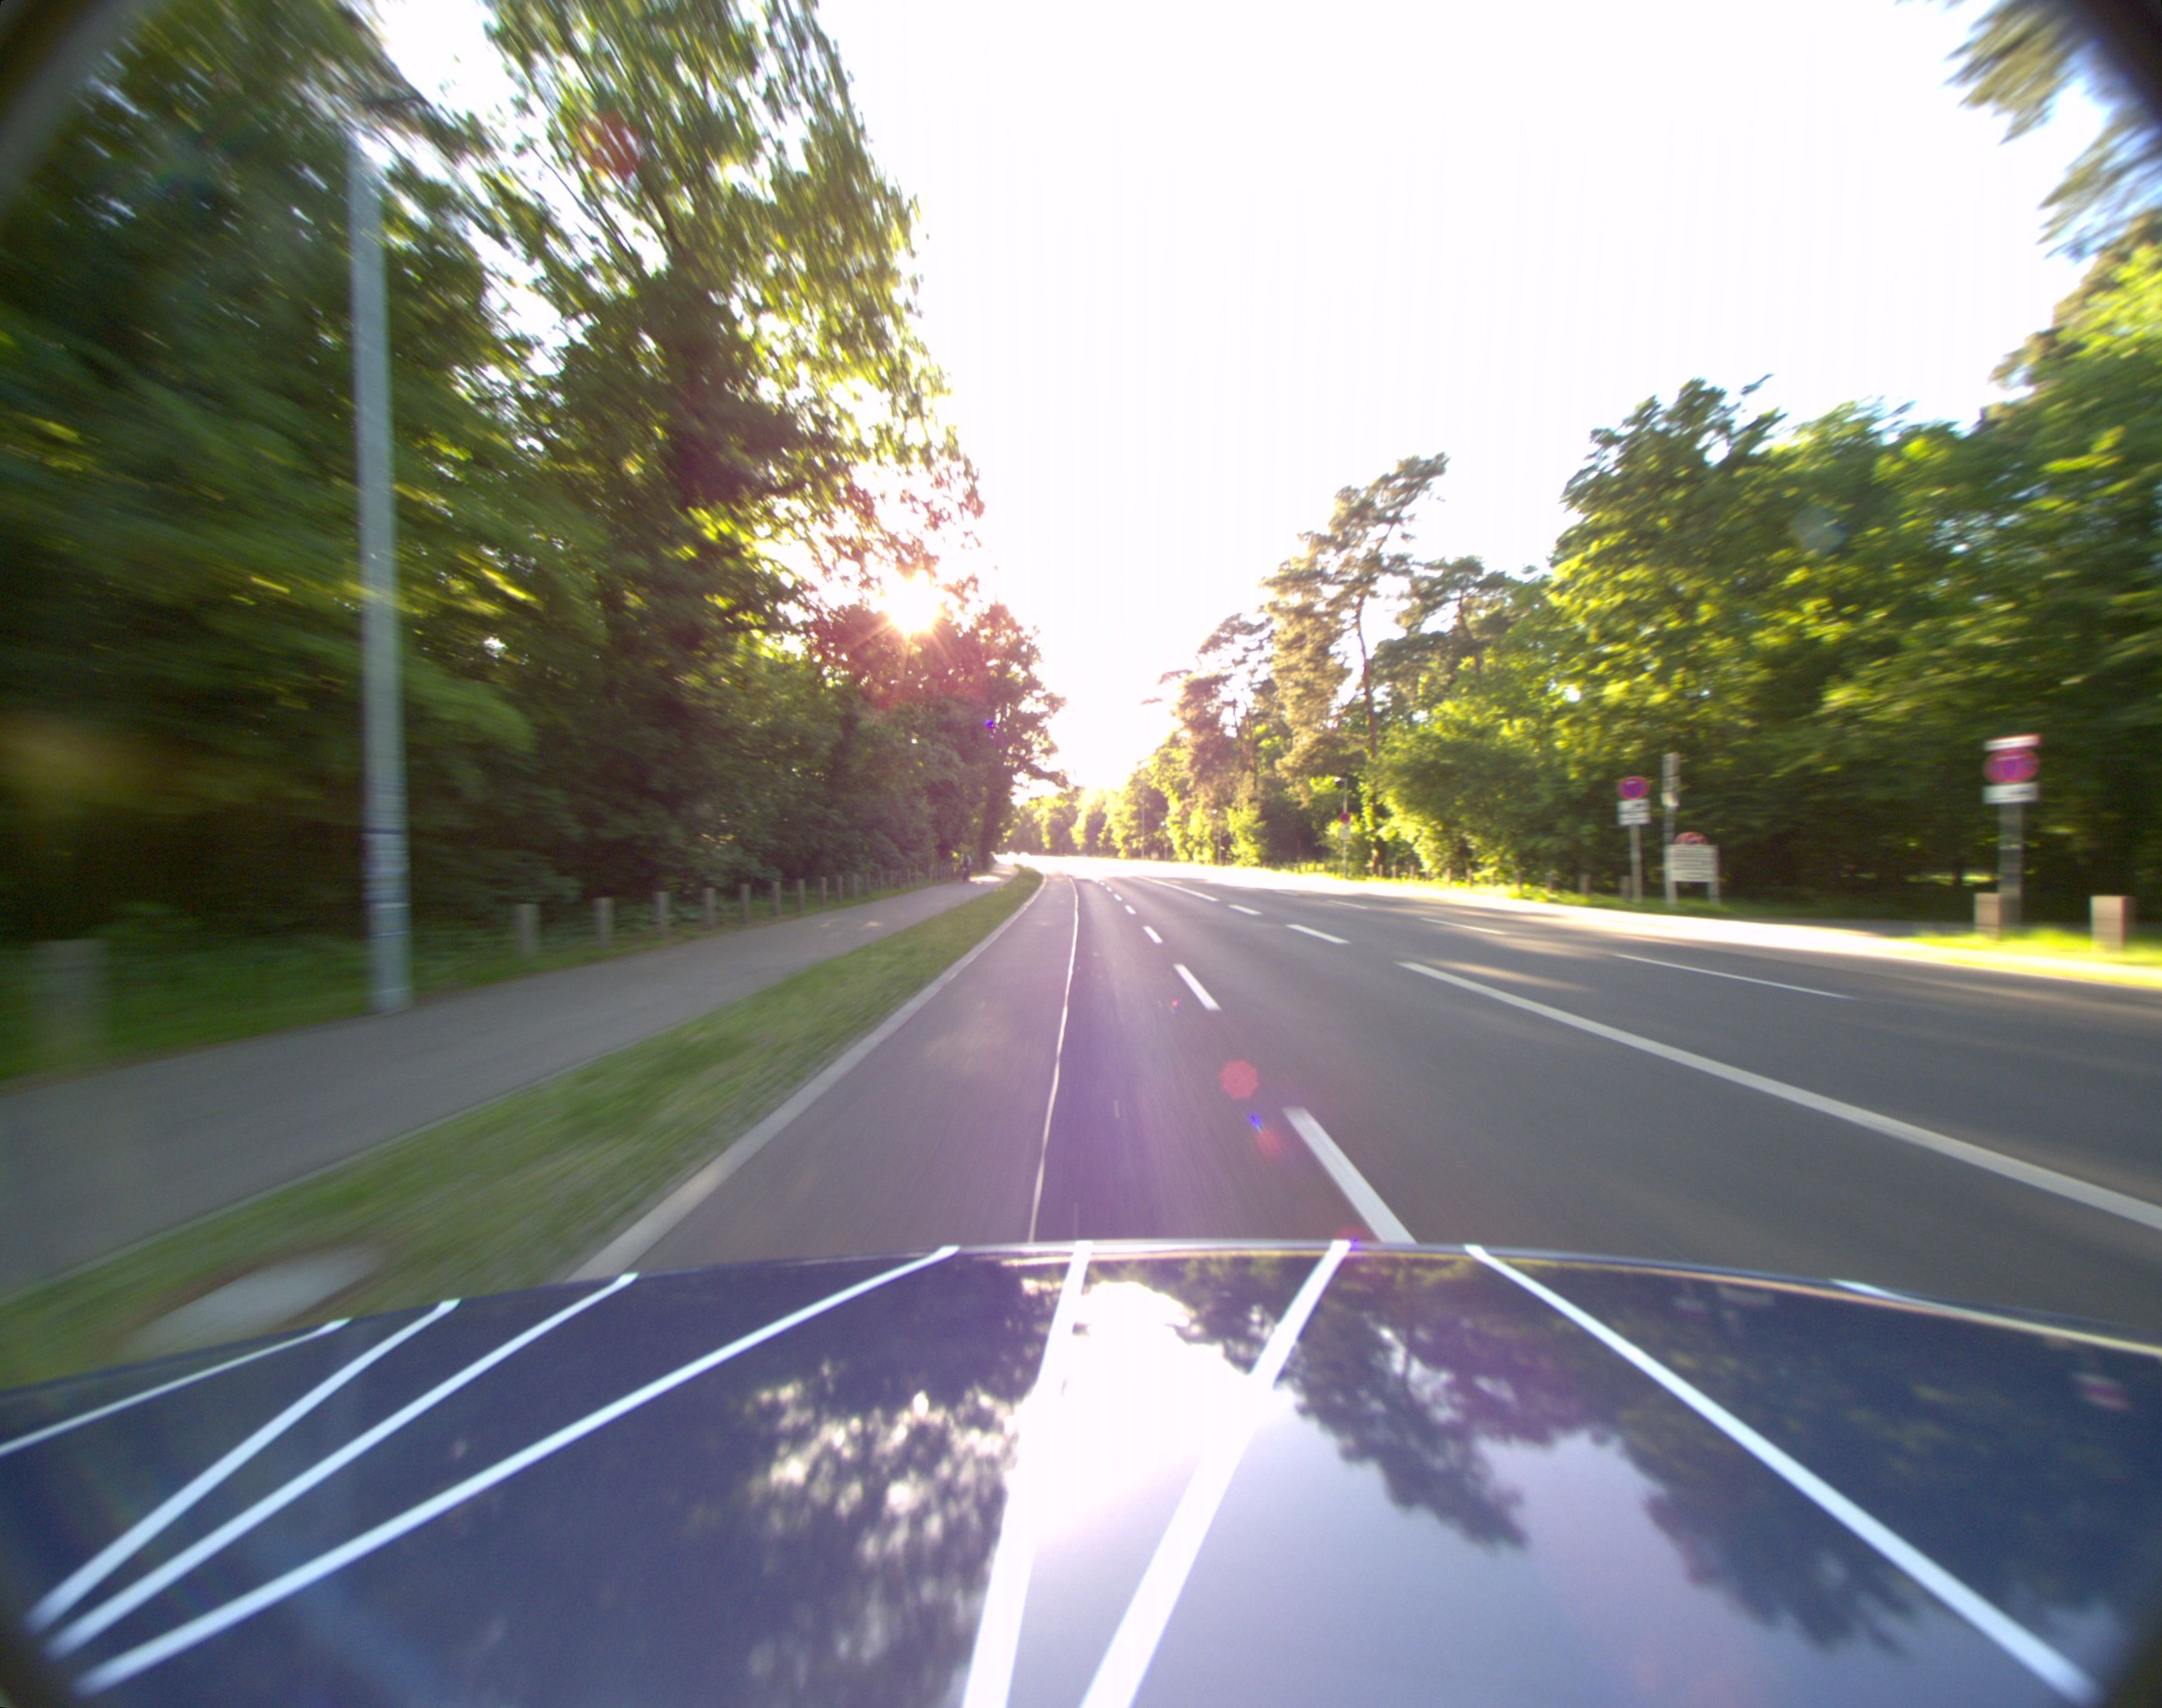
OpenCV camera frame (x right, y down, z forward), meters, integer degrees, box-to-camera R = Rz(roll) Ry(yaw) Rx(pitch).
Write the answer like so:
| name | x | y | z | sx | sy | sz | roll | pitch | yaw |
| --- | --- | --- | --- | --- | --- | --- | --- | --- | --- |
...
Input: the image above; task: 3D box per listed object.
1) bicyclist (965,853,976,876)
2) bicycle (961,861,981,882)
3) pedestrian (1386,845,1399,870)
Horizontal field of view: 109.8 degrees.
| name | x | y | z | sx | sy | sz | roll | pitch | yaw |
| --- | --- | --- | --- | --- | --- | --- | --- | --- | --- |
| bicyclist | -6.018 | 0.552 | 41.475 | 0.514 | 1.260 | 0.497 | -1 | 1 | 1 |
| bicycle | -6.055 | 0.966 | 41.866 | 0.608 | 1.051 | 2.875 | -1 | 0 | 1 |
| pedestrian | 16.275 | 0.188 | 39.693 | 0.471 | 1.308 | 0.512 | -1 | 1 | 1 |
